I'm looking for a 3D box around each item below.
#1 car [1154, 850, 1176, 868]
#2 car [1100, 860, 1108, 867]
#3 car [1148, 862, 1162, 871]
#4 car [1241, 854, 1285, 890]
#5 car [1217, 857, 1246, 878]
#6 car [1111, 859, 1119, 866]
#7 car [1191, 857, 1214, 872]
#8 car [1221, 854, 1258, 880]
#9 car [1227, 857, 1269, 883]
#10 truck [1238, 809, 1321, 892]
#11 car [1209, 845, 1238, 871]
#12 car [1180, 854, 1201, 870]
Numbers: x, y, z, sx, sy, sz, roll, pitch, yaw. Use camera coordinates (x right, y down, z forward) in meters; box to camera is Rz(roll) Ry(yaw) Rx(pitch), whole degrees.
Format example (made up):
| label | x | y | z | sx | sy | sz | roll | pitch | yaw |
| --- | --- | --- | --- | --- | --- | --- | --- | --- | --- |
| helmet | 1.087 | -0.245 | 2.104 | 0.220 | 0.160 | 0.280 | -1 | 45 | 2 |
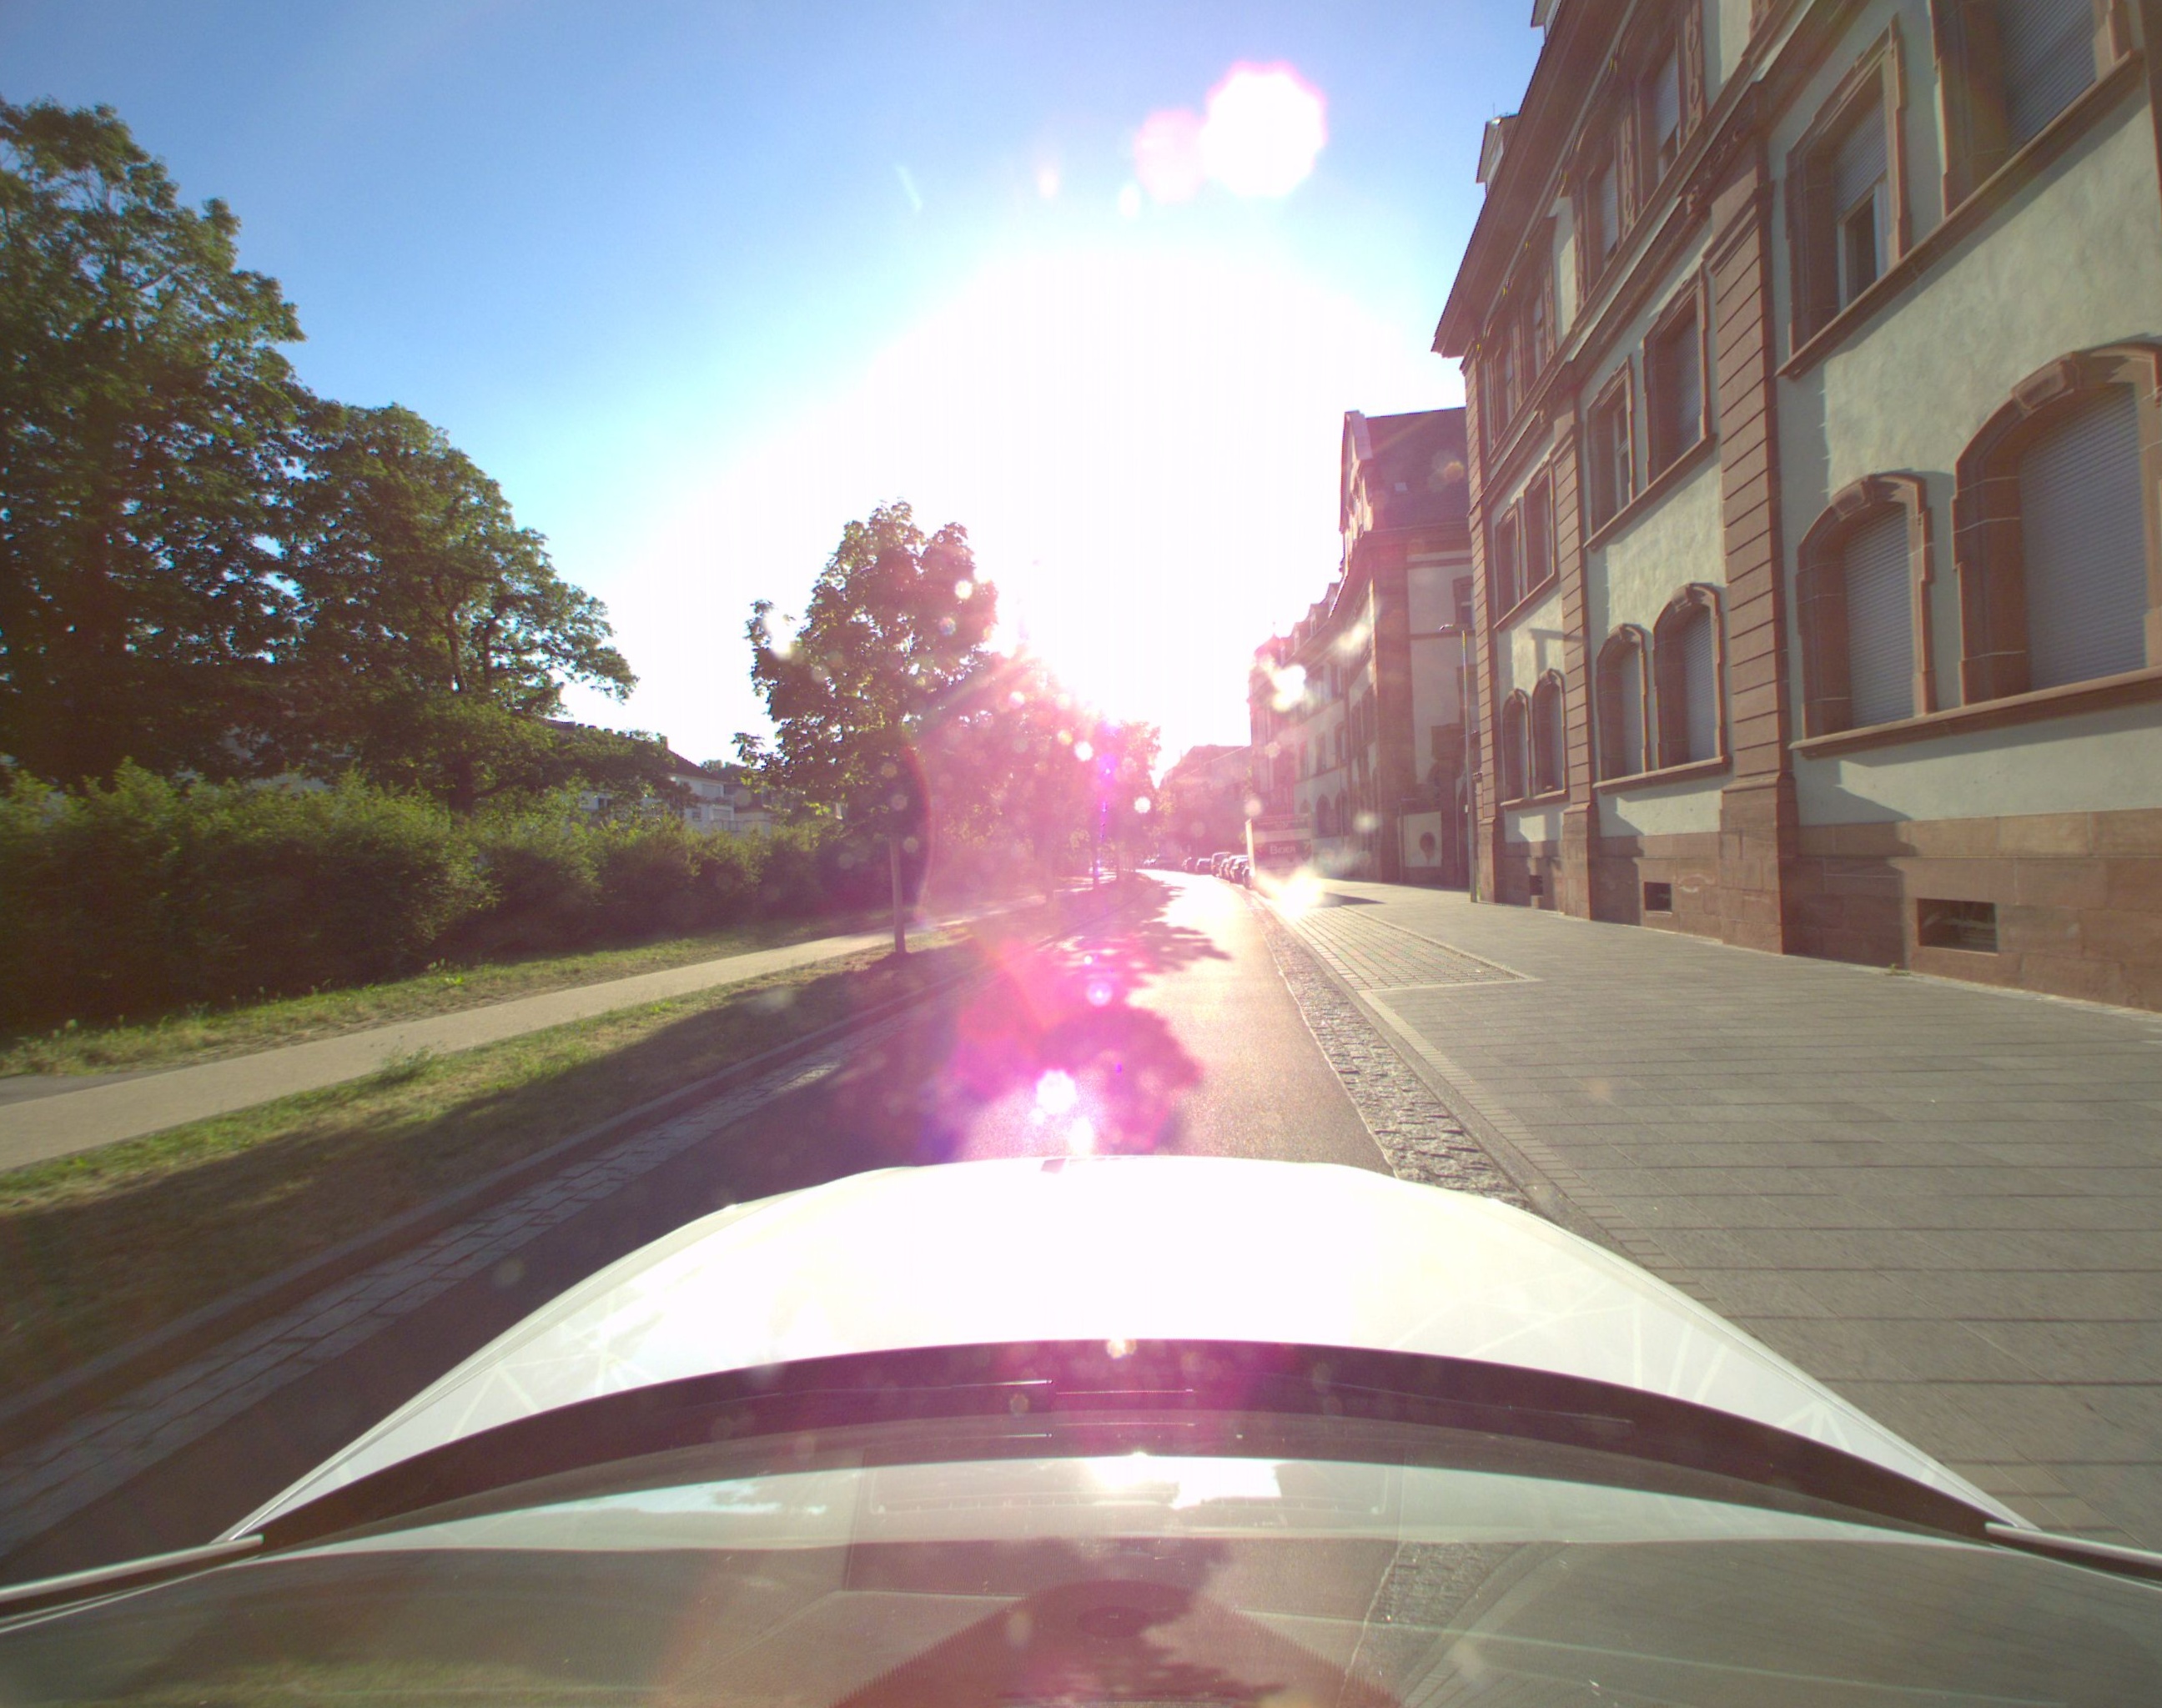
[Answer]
| label | x | y | z | sx | sy | sz | roll | pitch | yaw |
| --- | --- | --- | --- | --- | --- | --- | --- | --- | --- |
| car | 12.519 | 0.780 | 121.849 | 2.206 | 2.530 | 6.141 | -4 | 0 | -2 |
| car | 5.859 | 2.392 | 211.000 | 1.789 | 1.724 | 3.996 | -1 | -1 | -2 |
| car | 12.028 | 2.033 | 133.177 | 1.687 | 1.440 | 3.545 | -3 | 0 | -4 |
| car | 8.925 | 0.855 | 40.210 | 1.758 | 1.530 | 4.584 | -4 | -1 | 9 |
| car | 11.076 | 0.982 | 60.121 | 1.671 | 1.403 | 4.206 | -4 | -1 | 5 |
| car | 8.226 | 2.089 | 197.023 | 1.788 | 1.510 | 4.000 | -2 | -1 | 0 |
| car | 12.290 | 1.042 | 82.586 | 1.741 | 1.466 | 4.478 | -2 | 0 | 1 |
| car | 10.642 | 0.874 | 54.873 | 1.808 | 1.602 | 4.196 | -3 | -1 | 4 |
| car | 10.022 | 0.939 | 49.187 | 1.863 | 1.436 | 4.528 | -4 | -1 | 4 |
| truck | 8.275 | -0.132 | 34.666 | 2.609 | 3.120 | 6.099 | -3 | 0 | 7 |
| car | 12.280 | 0.350 | 70.532 | 1.983 | 1.966 | 4.857 | -5 | -1 | 6 |
| car | 12.523 | 0.930 | 93.014 | 1.719 | 1.669 | 4.113 | -3 | 0 | 0 |
